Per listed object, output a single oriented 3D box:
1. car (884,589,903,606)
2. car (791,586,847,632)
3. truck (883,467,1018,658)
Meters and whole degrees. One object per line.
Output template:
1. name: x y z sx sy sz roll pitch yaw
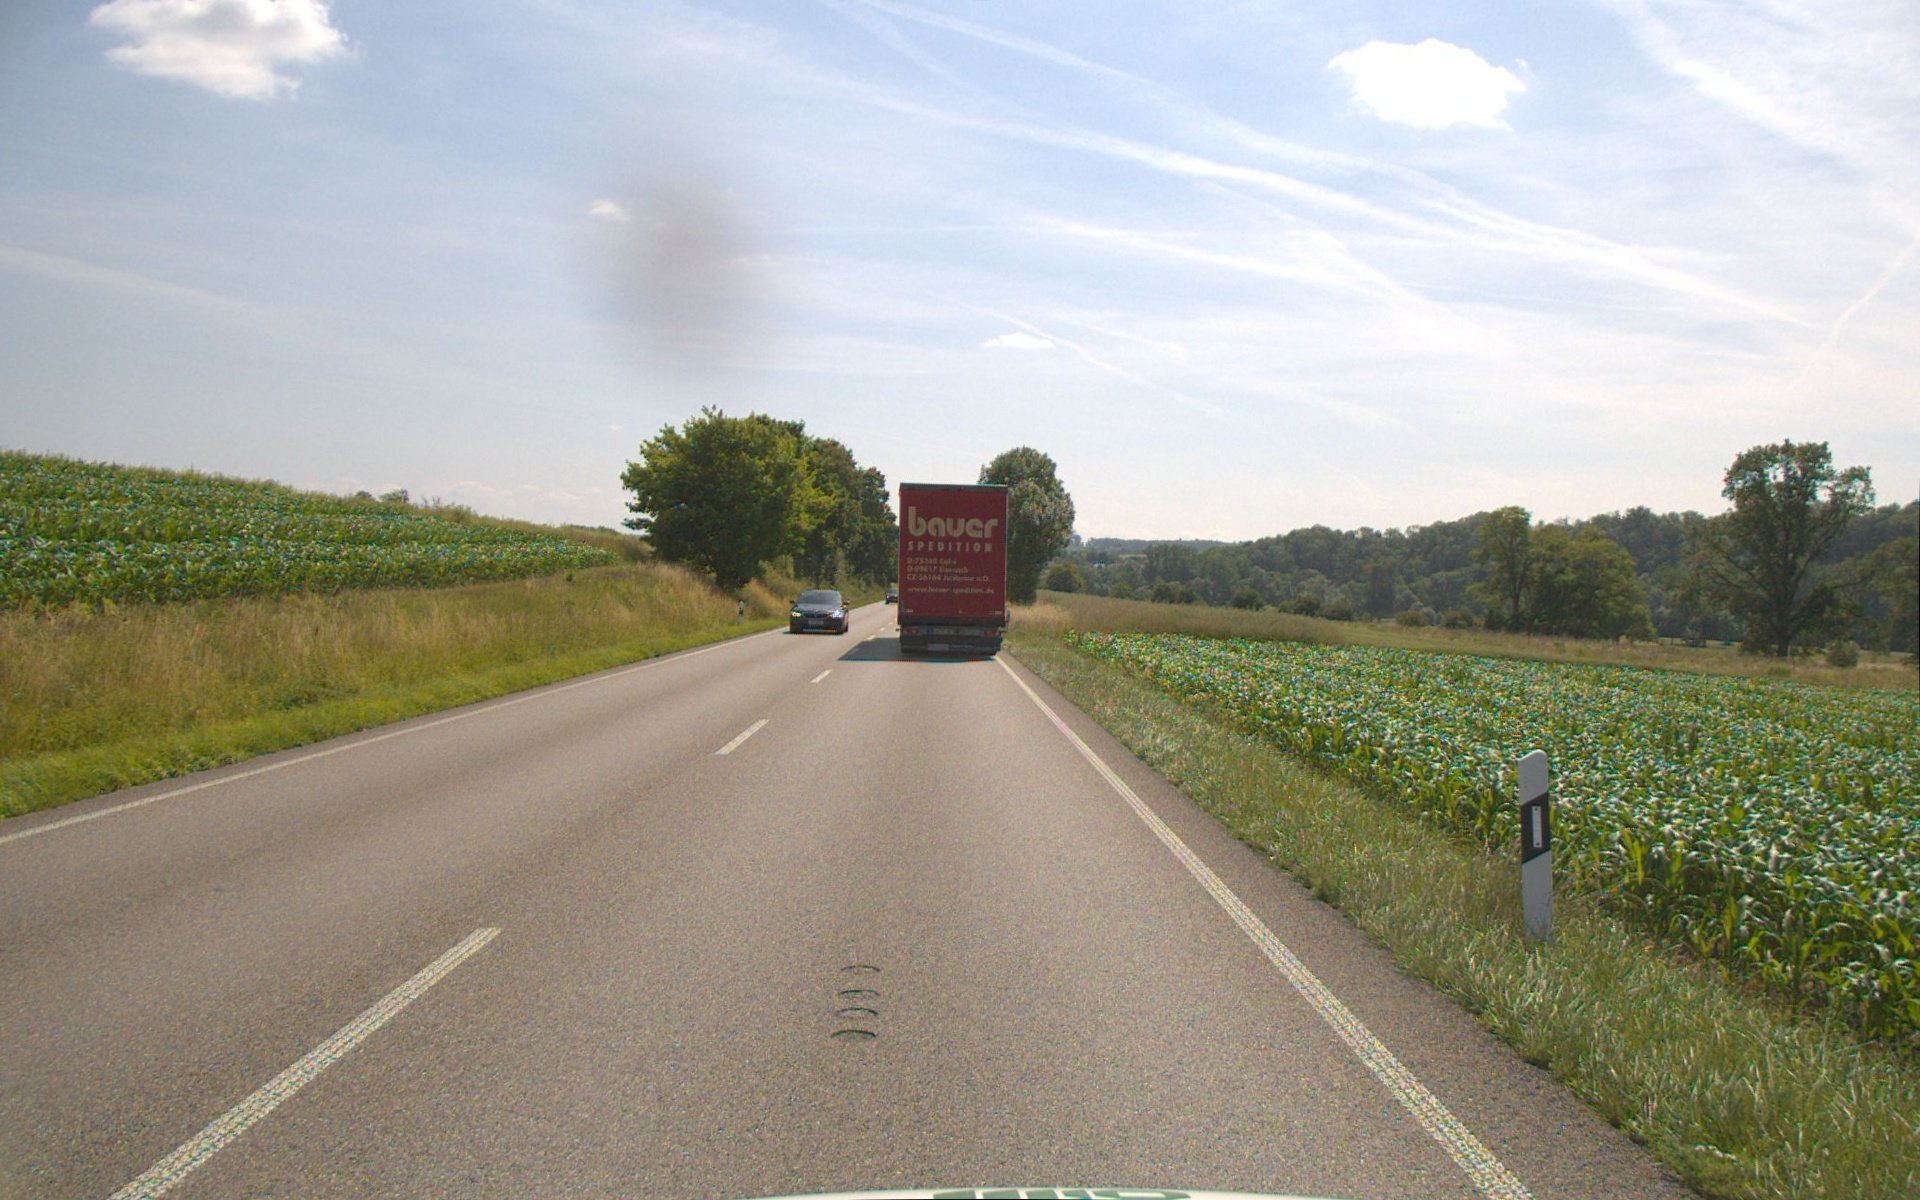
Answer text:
1. car: -6.348 -0.205 158.319 1.623 1.561 4.357 2 0 -1
2. car: -4.811 0.283 56.868 1.639 1.482 4.350 1 1 -1
3. truck: -0.155 -0.835 41.920 3.030 4.337 8.314 0 0 1
